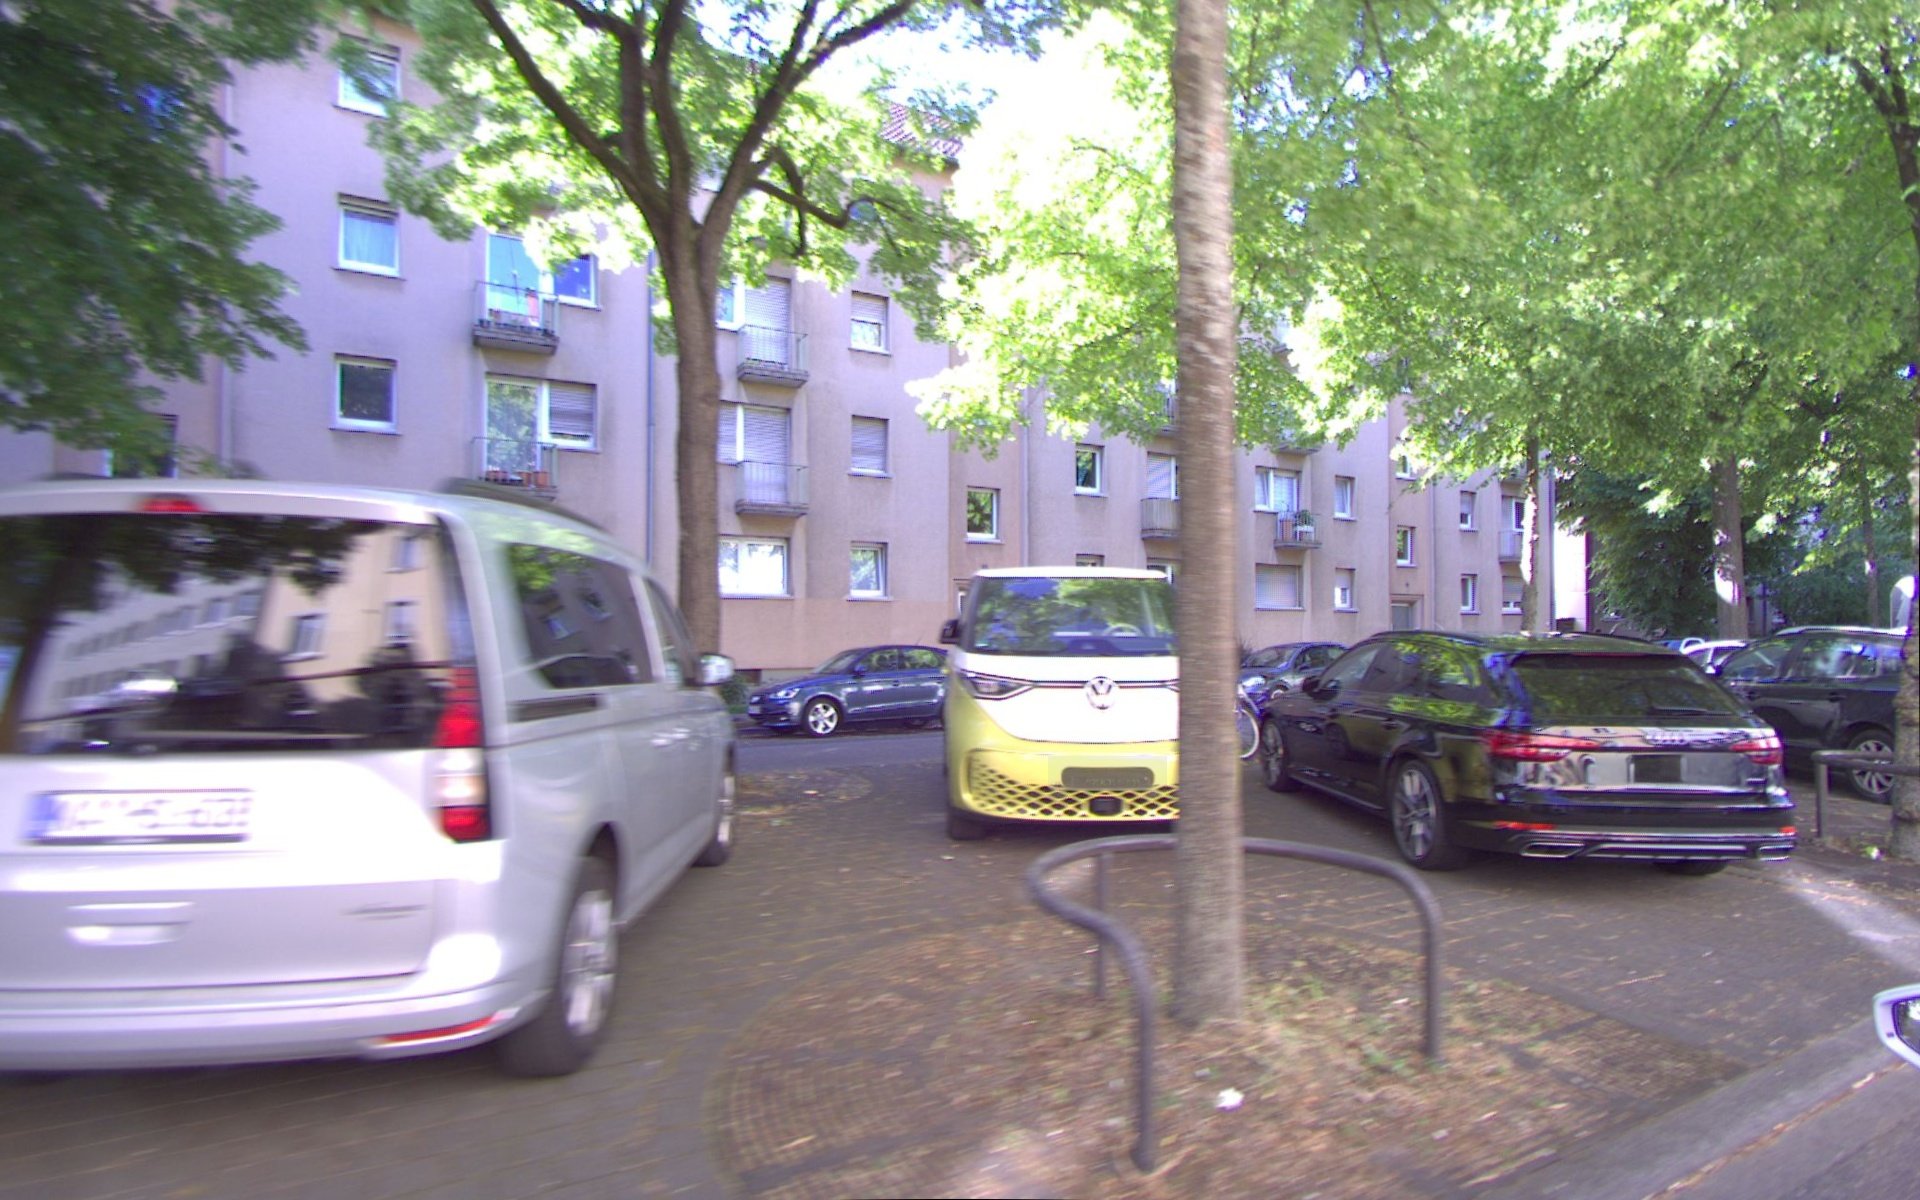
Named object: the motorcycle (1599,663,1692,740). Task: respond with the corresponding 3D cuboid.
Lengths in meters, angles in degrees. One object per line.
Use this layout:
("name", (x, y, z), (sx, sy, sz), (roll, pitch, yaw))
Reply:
("motorcycle", (9.759, 1.412, 14.364), (0.676, 0.969, 1.919), (-1, -2, 21))

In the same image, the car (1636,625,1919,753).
("car", (11.535, 1.104, 13.880), (1.787, 1.421, 4.044), (1, 0, 3))

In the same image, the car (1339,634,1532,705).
("car", (11.404, 1.596, 24.038), (4.480, 1.528, 1.984), (1, -2, -30))

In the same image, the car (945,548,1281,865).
("car", (0.892, 0.725, 8.236), (1.979, 1.856, 4.607), (0, -2, 0))

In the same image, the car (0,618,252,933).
("car", (-5.162, 0.778, 4.148), (1.591, 1.425, 3.804), (0, -1, 4))

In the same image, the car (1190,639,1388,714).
("car", (7.038, 1.565, 21.440), (3.953, 1.436, 1.883), (1, -2, -30))

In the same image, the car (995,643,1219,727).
("car", (2.830, 1.553, 19.171), (3.953, 1.405, 1.883), (1, -2, -30))

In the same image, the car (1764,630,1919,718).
("car", (17.458, 1.336, 19.050), (1.722, 1.527, 3.546), (-1, -2, 4))

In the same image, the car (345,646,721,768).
("car", (-5.786, 1.355, 13.848), (4.565, 1.411, 1.719), (1, -3, -32))

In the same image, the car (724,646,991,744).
("car", (-1.655, 1.466, 16.424), (3.953, 1.405, 1.883), (1, -3, -30))

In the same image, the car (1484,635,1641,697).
("car", (16.145, 1.707, 26.885), (4.258, 1.528, 1.755), (1, -2, -30))

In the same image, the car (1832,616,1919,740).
("car", (14.073, 1.045, 13.102), (1.725, 1.701, 4.147), (0, -2, -1))

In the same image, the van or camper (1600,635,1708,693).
("van or camper", (20.118, 1.828, 29.119), (2.665, 1.575, 1.589), (1, -2, -30))

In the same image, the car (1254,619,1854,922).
("car", (3.558, 0.900, 7.174), (1.752, 1.474, 4.491), (0, -2, 2))

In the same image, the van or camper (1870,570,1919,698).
("van or camper", (23.548, 0.688, 20.963), (2.269, 2.968, 7.249), (0, -2, -3))

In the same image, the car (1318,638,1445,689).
("car", (12.342, 1.823, 29.393), (3.569, 1.405, 1.617), (1, -2, -30))

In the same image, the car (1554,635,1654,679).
("car", (23.402, 2.030, 36.479), (3.569, 1.501, 1.617), (1, -2, -30))

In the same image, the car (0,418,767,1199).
("car", (-2.180, 0.577, 4.590), (2.041, 1.889, 4.521), (0, -1, -4))

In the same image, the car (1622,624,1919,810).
("car", (8.549, 0.988, 9.612), (1.682, 1.481, 4.426), (1, -2, 3))

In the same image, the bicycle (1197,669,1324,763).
("bicycle", (3.498, 1.312, 11.627), (1.750, 0.953, 0.433), (1, 0, -36))

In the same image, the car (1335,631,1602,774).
("car", (5.965, 1.122, 12.298), (1.781, 1.474, 3.636), (0, -2, 7))
